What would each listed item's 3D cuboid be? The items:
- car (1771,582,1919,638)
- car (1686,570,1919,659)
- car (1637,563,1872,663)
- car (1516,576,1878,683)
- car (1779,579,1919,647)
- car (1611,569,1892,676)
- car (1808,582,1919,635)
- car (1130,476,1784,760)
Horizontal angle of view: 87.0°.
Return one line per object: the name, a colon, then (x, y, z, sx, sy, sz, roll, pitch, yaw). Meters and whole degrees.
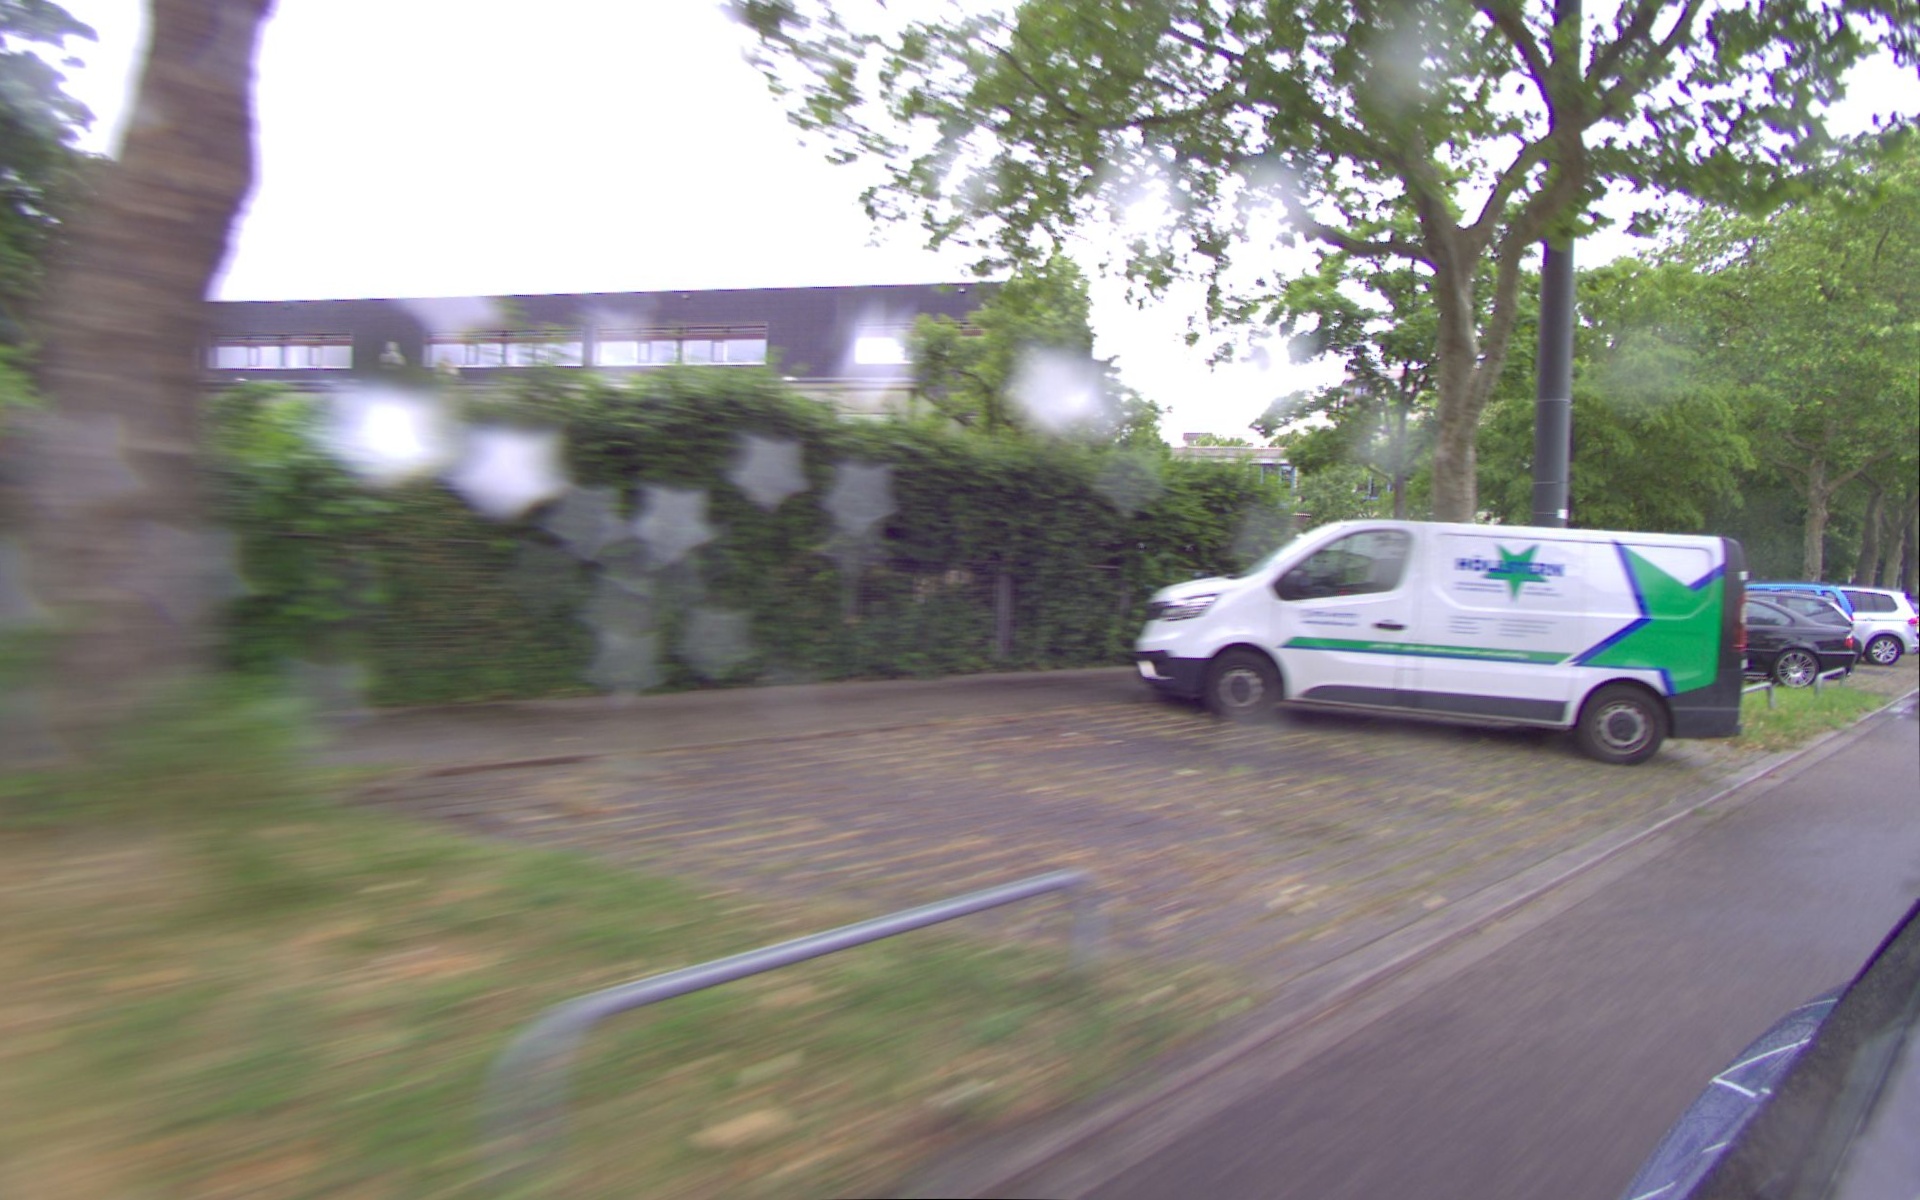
car: (28.318, 0.313, 31.741, 4.002, 1.435, 1.737, 4, 4, 13)
car: (18.571, 0.280, 22.094, 3.985, 1.661, 1.650, 3, 3, 11)
car: (15.879, 0.208, 20.414, 3.229, 1.691, 1.586, 4, 4, 15)
car: (11.458, 0.408, 16.036, 4.236, 1.401, 1.737, 2, 2, 10)
car: (23.284, 0.328, 26.106, 2.870, 1.483, 1.594, 5, 4, 20)
car: (14.015, 0.346, 18.149, 3.352, 1.536, 1.845, 4, 4, 12)
car: (31.076, 0.311, 33.706, 3.753, 1.551, 1.874, 4, 3, 16)
car: (4.244, 0.044, 9.567, 4.958, 2.038, 1.992, 4, 2, 15)
